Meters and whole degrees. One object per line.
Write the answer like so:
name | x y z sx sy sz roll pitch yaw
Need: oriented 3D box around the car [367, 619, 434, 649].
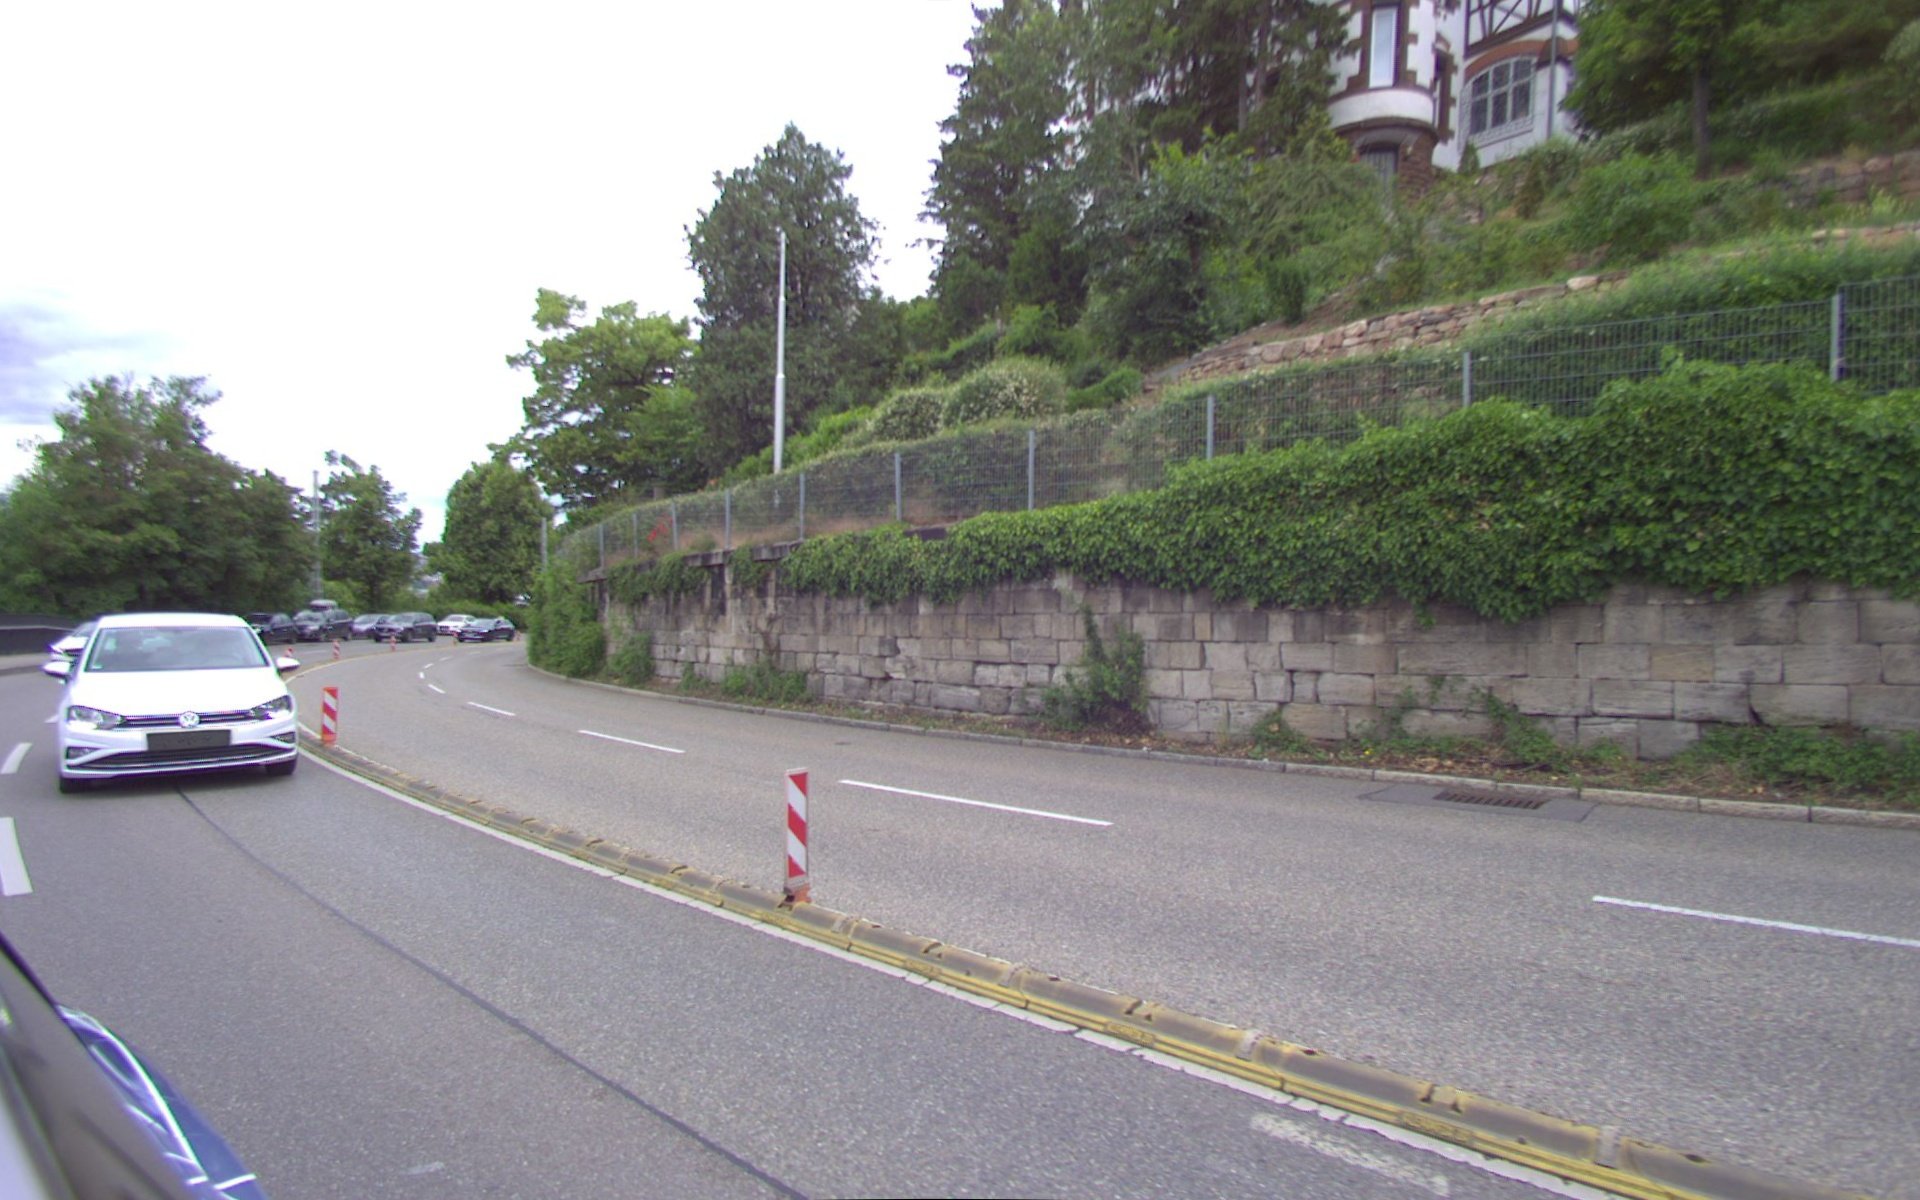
car | -31.056 1.860 56.335 1.872 1.505 4.148 0 0 -7

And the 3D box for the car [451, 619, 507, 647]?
car | -28.640 1.950 60.383 1.894 1.505 4.149 0 1 -9

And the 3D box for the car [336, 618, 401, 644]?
car | -34.320 1.768 58.840 1.904 1.444 4.007 1 -2 -8

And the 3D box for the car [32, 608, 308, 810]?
car | -8.095 0.926 10.229 1.799 1.592 4.361 3 -3 -42

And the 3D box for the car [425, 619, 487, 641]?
car | -34.630 2.051 69.671 1.911 1.444 3.992 1 -1 6

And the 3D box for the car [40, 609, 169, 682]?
car | -22.846 1.186 27.193 1.966 1.731 4.012 4 -2 -32

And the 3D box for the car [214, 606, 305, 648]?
car | -32.466 1.306 47.043 1.674 1.532 3.924 13 -5 -9

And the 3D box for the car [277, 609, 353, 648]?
car | -33.502 1.463 52.683 1.671 1.845 4.413 3 -2 -10
